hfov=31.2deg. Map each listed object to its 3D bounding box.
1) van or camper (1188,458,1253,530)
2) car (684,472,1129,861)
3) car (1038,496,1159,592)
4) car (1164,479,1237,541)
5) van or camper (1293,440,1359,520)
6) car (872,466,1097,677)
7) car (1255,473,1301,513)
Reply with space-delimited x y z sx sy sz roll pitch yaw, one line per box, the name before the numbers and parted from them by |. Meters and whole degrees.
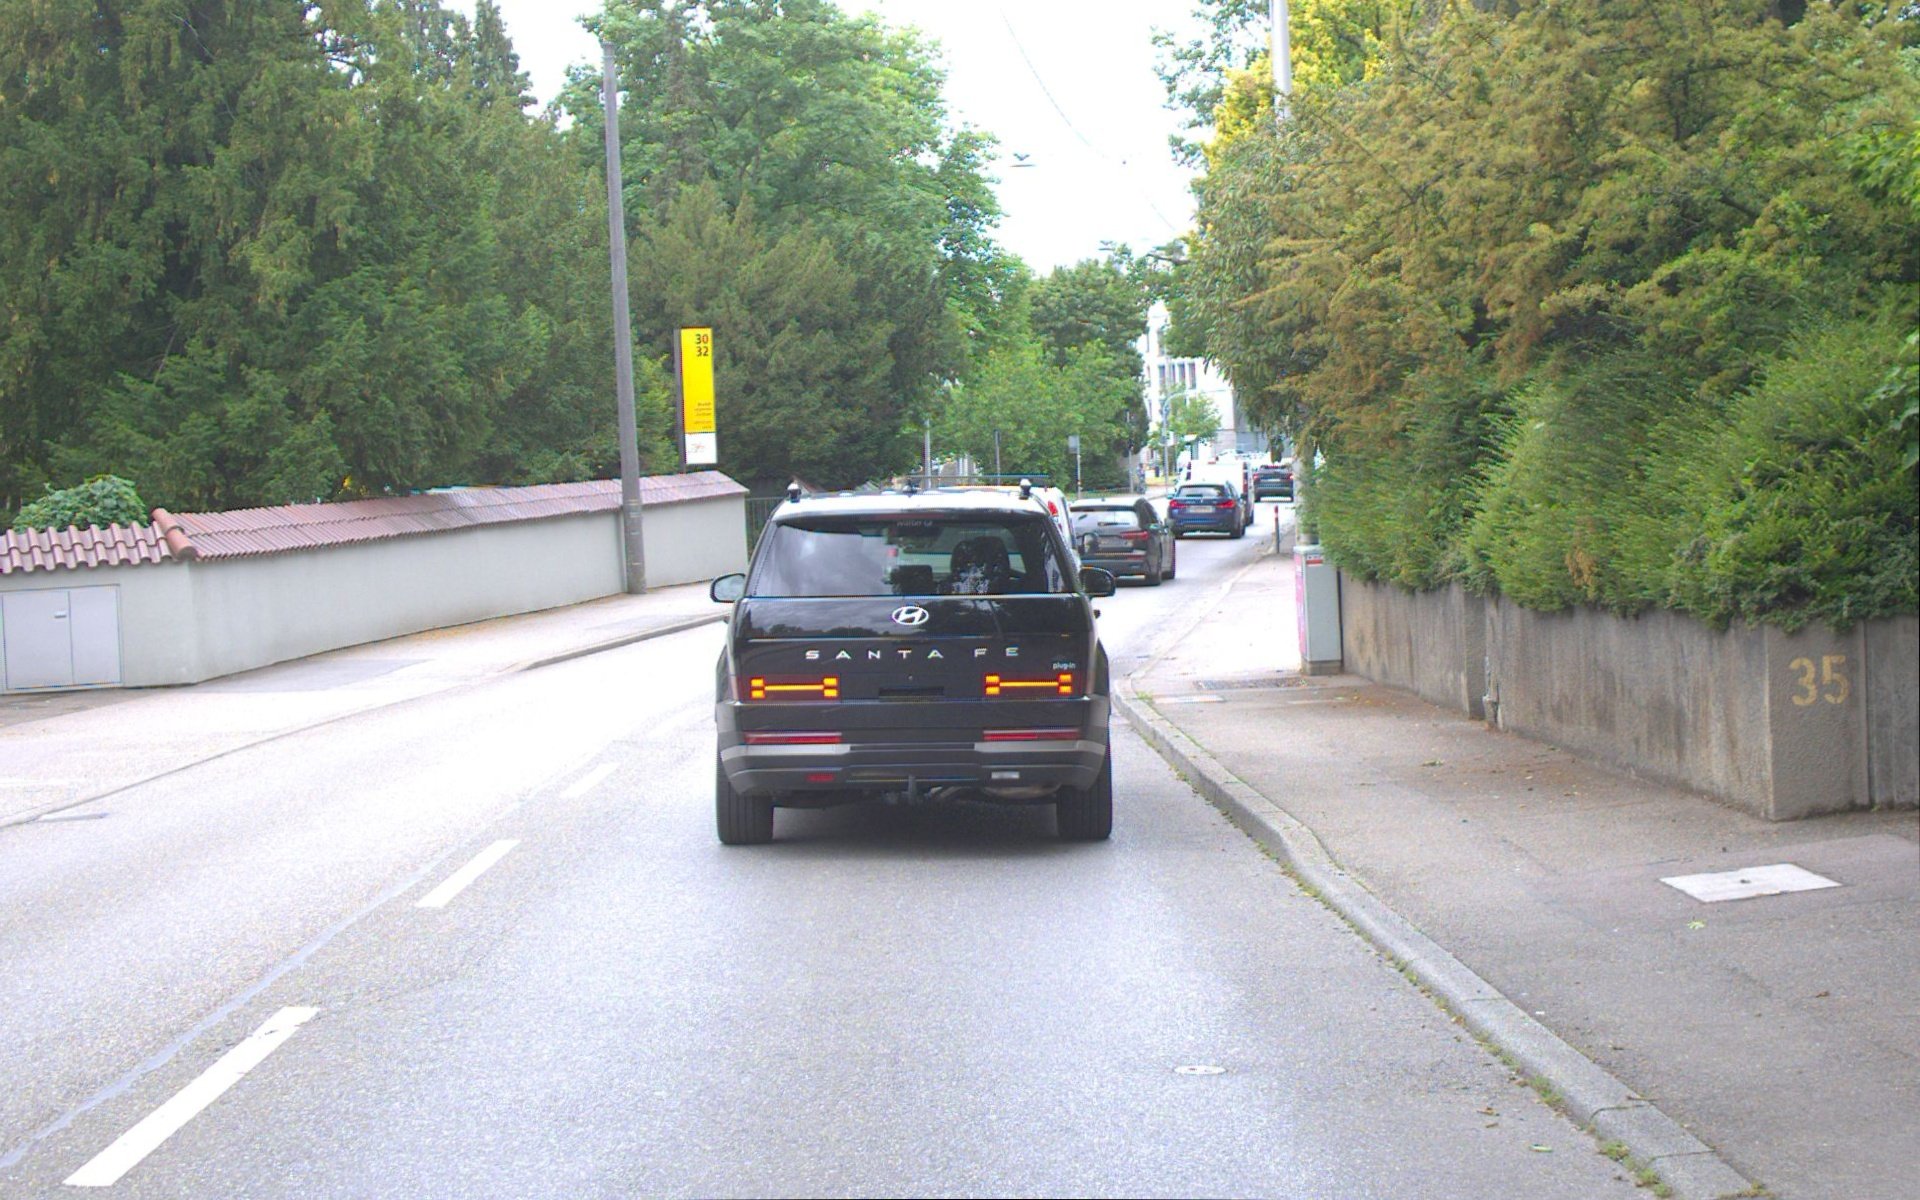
van or camper | 7.733 -3.167 101.885 1.676 2.000 3.937 -2 3 7
car | -0.267 0.254 17.394 1.957 1.707 4.224 1 1 -1
car | 2.345 -0.961 57.385 1.676 1.417 3.937 -2 3 7
car | 6.141 -2.299 87.492 1.676 1.417 3.937 -2 3 6
van or camper | 12.457 -4.093 116.810 2.044 2.569 5.248 -2 3 7
car | 0.309 -0.359 34.884 1.957 1.949 4.223 1 3 5
car | 13.106 -4.412 141.564 1.676 1.536 3.937 -2 3 7
